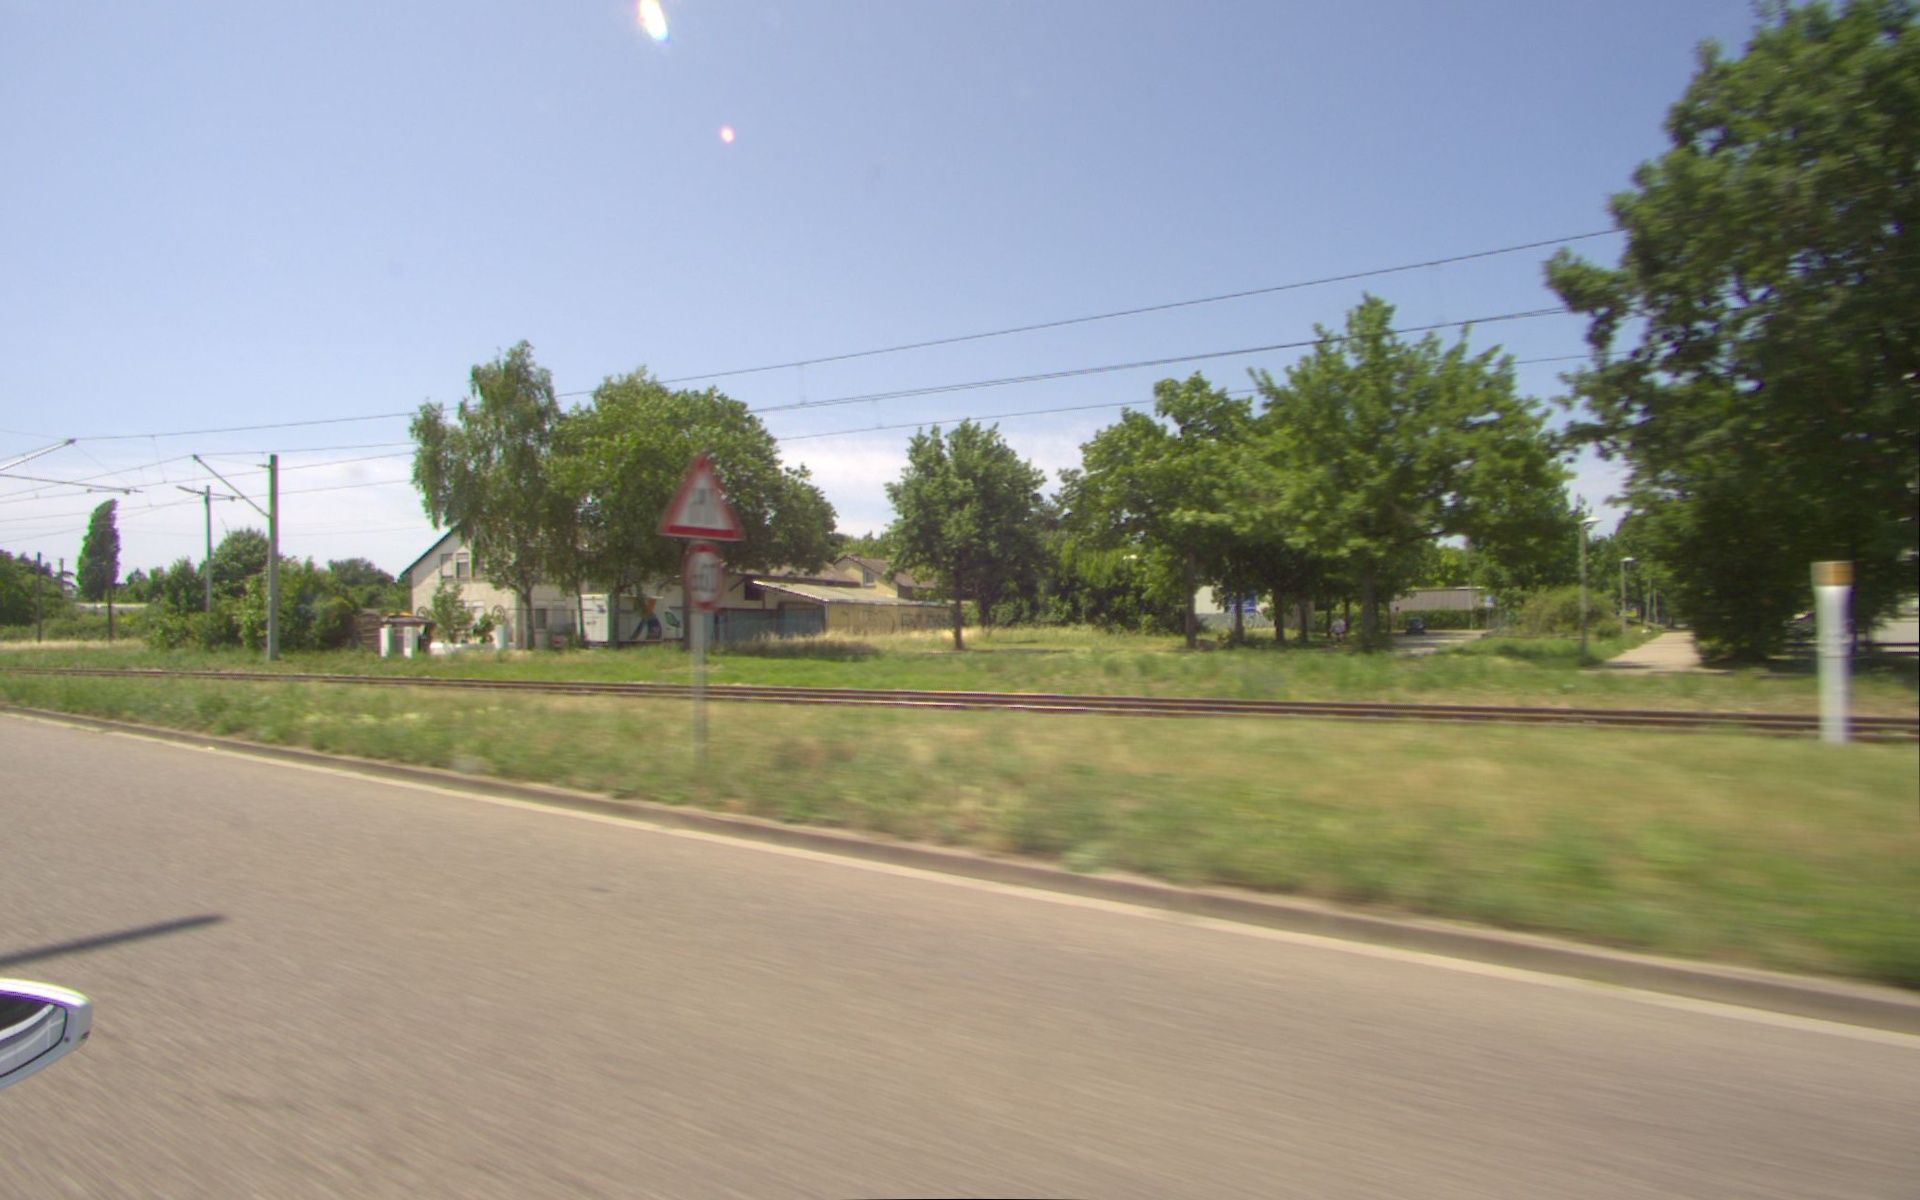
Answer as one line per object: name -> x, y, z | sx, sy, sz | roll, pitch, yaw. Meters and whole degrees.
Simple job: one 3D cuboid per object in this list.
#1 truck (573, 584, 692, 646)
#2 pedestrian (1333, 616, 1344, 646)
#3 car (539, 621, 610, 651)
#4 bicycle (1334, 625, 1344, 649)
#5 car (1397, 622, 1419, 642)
truck -> -16.197, 0.728, 49.930 | 2.282, 2.880, 5.841 | -1, 0, 24
pedestrian -> 18.123, 1.496, 47.921 | 0.450, 1.421, 0.583 | 0, 0, 19
car -> -20.442, 1.914, 53.226 | 1.654, 1.529, 3.437 | -1, -1, 22
bicycle -> 18.120, 1.774, 47.874 | 0.424, 1.134, 1.578 | 0, -1, 21
car -> 48.257, 3.497, 107.806 | 1.968, 2.038, 3.989 | -1, -3, 26
